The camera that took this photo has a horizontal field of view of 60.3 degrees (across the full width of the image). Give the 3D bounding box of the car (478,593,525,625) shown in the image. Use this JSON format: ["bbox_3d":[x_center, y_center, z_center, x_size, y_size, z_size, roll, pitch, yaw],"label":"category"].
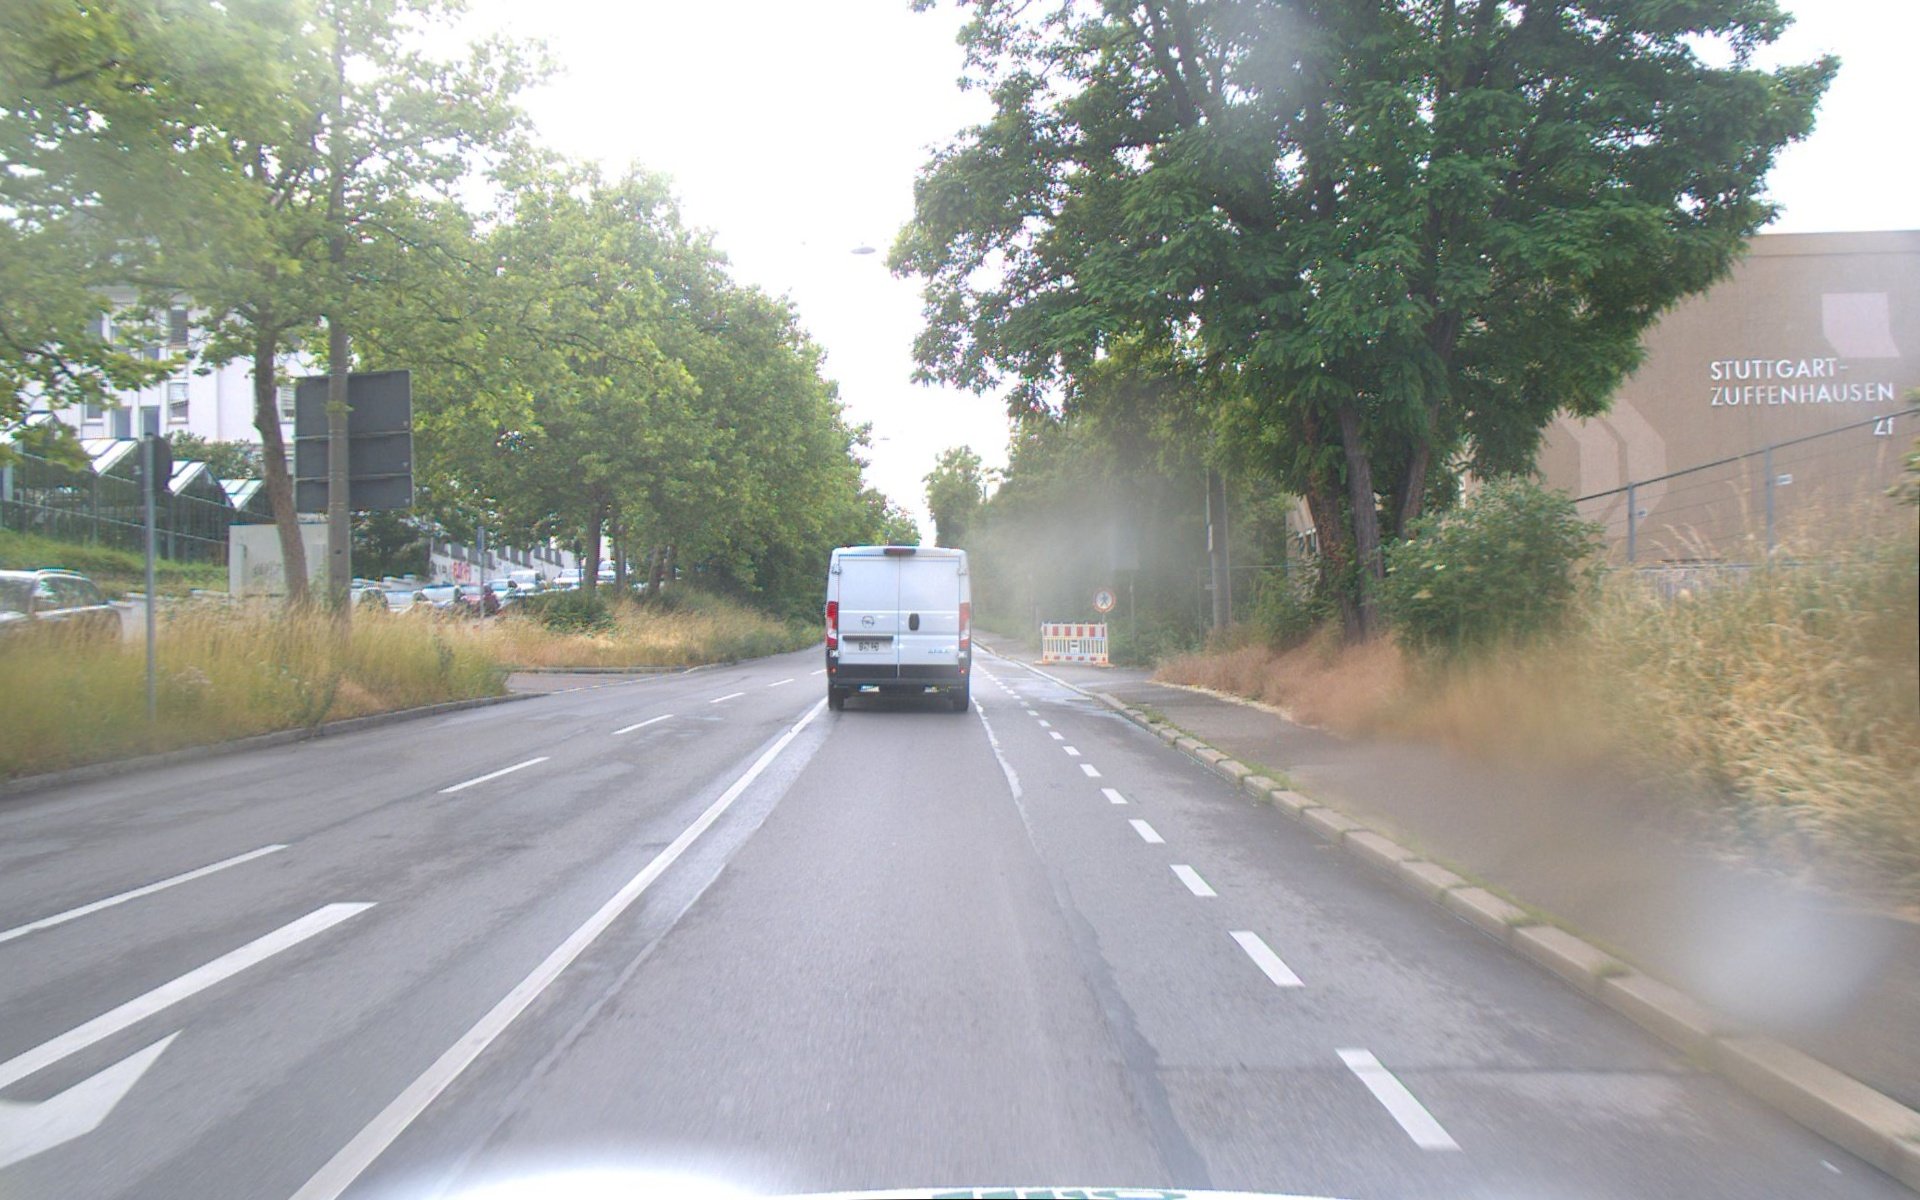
[{"bbox_3d":[-20.934,0.407,75.556,1.332,1.333,3.085,-1,-2,-2],"label":"car"}]

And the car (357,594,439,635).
[{"bbox_3d":[-20.122,0.531,59.390,1.780,1.313,4.118,-1,-2,-4],"label":"car"}]

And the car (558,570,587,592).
[{"bbox_3d":[-22.453,-1.106,95.852,1.189,1.153,2.451,-1,-2,-2],"label":"car"}]

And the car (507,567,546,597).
[{"bbox_3d":[-21.359,-0.872,81.496,1.355,1.321,3.012,-1,-2,-5],"label":"car"}]

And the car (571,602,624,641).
[{"bbox_3d":[-13.773,0.835,62.943,1.406,1.385,3.173,-1,-2,-2],"label":"car"}]

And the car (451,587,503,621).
[{"bbox_3d":[-20.463,0.187,70.147,1.332,1.333,3.085,-1,-2,-2],"label":"car"}]

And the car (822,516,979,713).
[{"bbox_3d":[-0.855,0.187,24.625,2.009,2.560,4.942,2,0,-1],"label":"car"}]

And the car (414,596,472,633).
[{"bbox_3d":[-20.151,0.585,64.601,1.435,1.313,3.302,-1,-2,-4],"label":"car"}]

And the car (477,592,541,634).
[{"bbox_3d":[-13.467,0.413,49.519,1.323,1.151,2.750,-1,-2,-4],"label":"car"}]

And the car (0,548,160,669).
[{"bbox_3d":[-11.492,0.157,19.985,1.506,1.316,4.543,-1,-2,-1],"label":"car"}]

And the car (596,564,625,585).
[{"bbox_3d":[-23.738,-1.721,112.303,1.568,1.272,2.907,-1,-2,-5],"label":"car"}]
